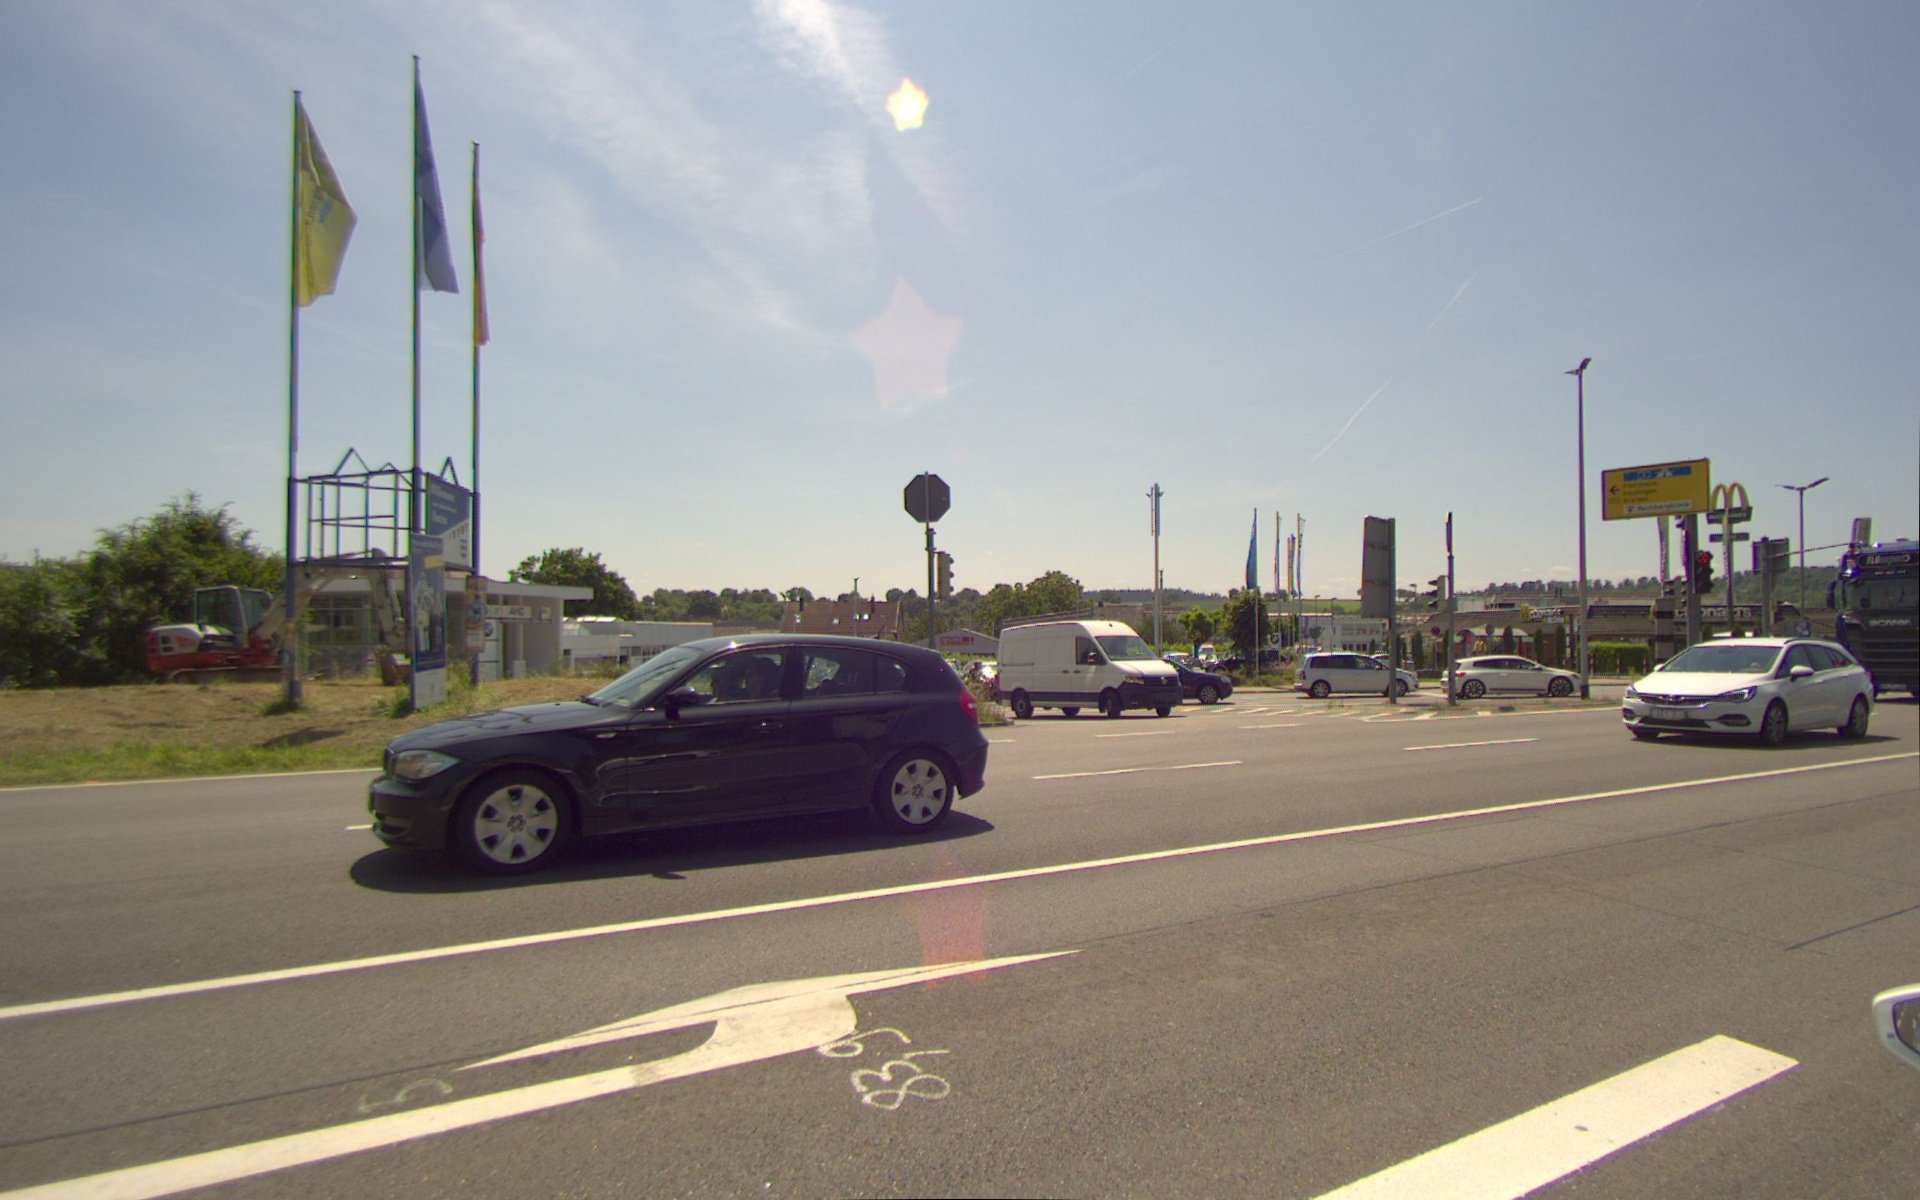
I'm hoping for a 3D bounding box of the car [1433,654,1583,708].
[{"bbox_3d":[17.895,2.613,32.948,3.932,1.500,1.791,2,-1,11],"label":"car"}]

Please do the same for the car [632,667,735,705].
[{"bbox_3d":[-12.387,3.843,45.113,4.113,1.622,1.751,0,-3,10],"label":"car"}]

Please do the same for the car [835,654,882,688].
[{"bbox_3d":[-5.111,3.604,51.249,1.715,1.622,4.201,0,-3,4],"label":"car"}]

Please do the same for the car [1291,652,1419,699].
[{"bbox_3d":[14.461,2.742,36.982,4.112,1.622,1.751,0,-2,10],"label":"car"}]

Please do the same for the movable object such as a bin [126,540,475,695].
[{"bbox_3d":[-15.514,0.423,23.873,6.654,3.342,3.055,0,-2,12],"label":"movable object such as a bin"}]

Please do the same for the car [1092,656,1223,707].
[{"bbox_3d":[6.817,2.815,34.878,4.321,1.621,1.751,-2,-3,10],"label":"car"}]

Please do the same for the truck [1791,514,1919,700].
[{"bbox_3d":[29.837,0.367,28.807,17.328,4.406,3.133,1,-2,-29],"label":"truck"}]

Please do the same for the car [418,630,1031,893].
[{"bbox_3d":[-1.592,0.944,7.168,3.969,1.422,1.655,1,-2,-30],"label":"car"}]

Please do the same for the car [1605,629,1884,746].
[{"bbox_3d":[11.696,1.271,14.924,4.354,1.523,1.733,3,-4,-30],"label":"car"}]

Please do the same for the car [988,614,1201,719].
[{"bbox_3d":[3.424,1.876,27.085,2.173,2.519,5.955,1,-6,-35],"label":"car"}]
